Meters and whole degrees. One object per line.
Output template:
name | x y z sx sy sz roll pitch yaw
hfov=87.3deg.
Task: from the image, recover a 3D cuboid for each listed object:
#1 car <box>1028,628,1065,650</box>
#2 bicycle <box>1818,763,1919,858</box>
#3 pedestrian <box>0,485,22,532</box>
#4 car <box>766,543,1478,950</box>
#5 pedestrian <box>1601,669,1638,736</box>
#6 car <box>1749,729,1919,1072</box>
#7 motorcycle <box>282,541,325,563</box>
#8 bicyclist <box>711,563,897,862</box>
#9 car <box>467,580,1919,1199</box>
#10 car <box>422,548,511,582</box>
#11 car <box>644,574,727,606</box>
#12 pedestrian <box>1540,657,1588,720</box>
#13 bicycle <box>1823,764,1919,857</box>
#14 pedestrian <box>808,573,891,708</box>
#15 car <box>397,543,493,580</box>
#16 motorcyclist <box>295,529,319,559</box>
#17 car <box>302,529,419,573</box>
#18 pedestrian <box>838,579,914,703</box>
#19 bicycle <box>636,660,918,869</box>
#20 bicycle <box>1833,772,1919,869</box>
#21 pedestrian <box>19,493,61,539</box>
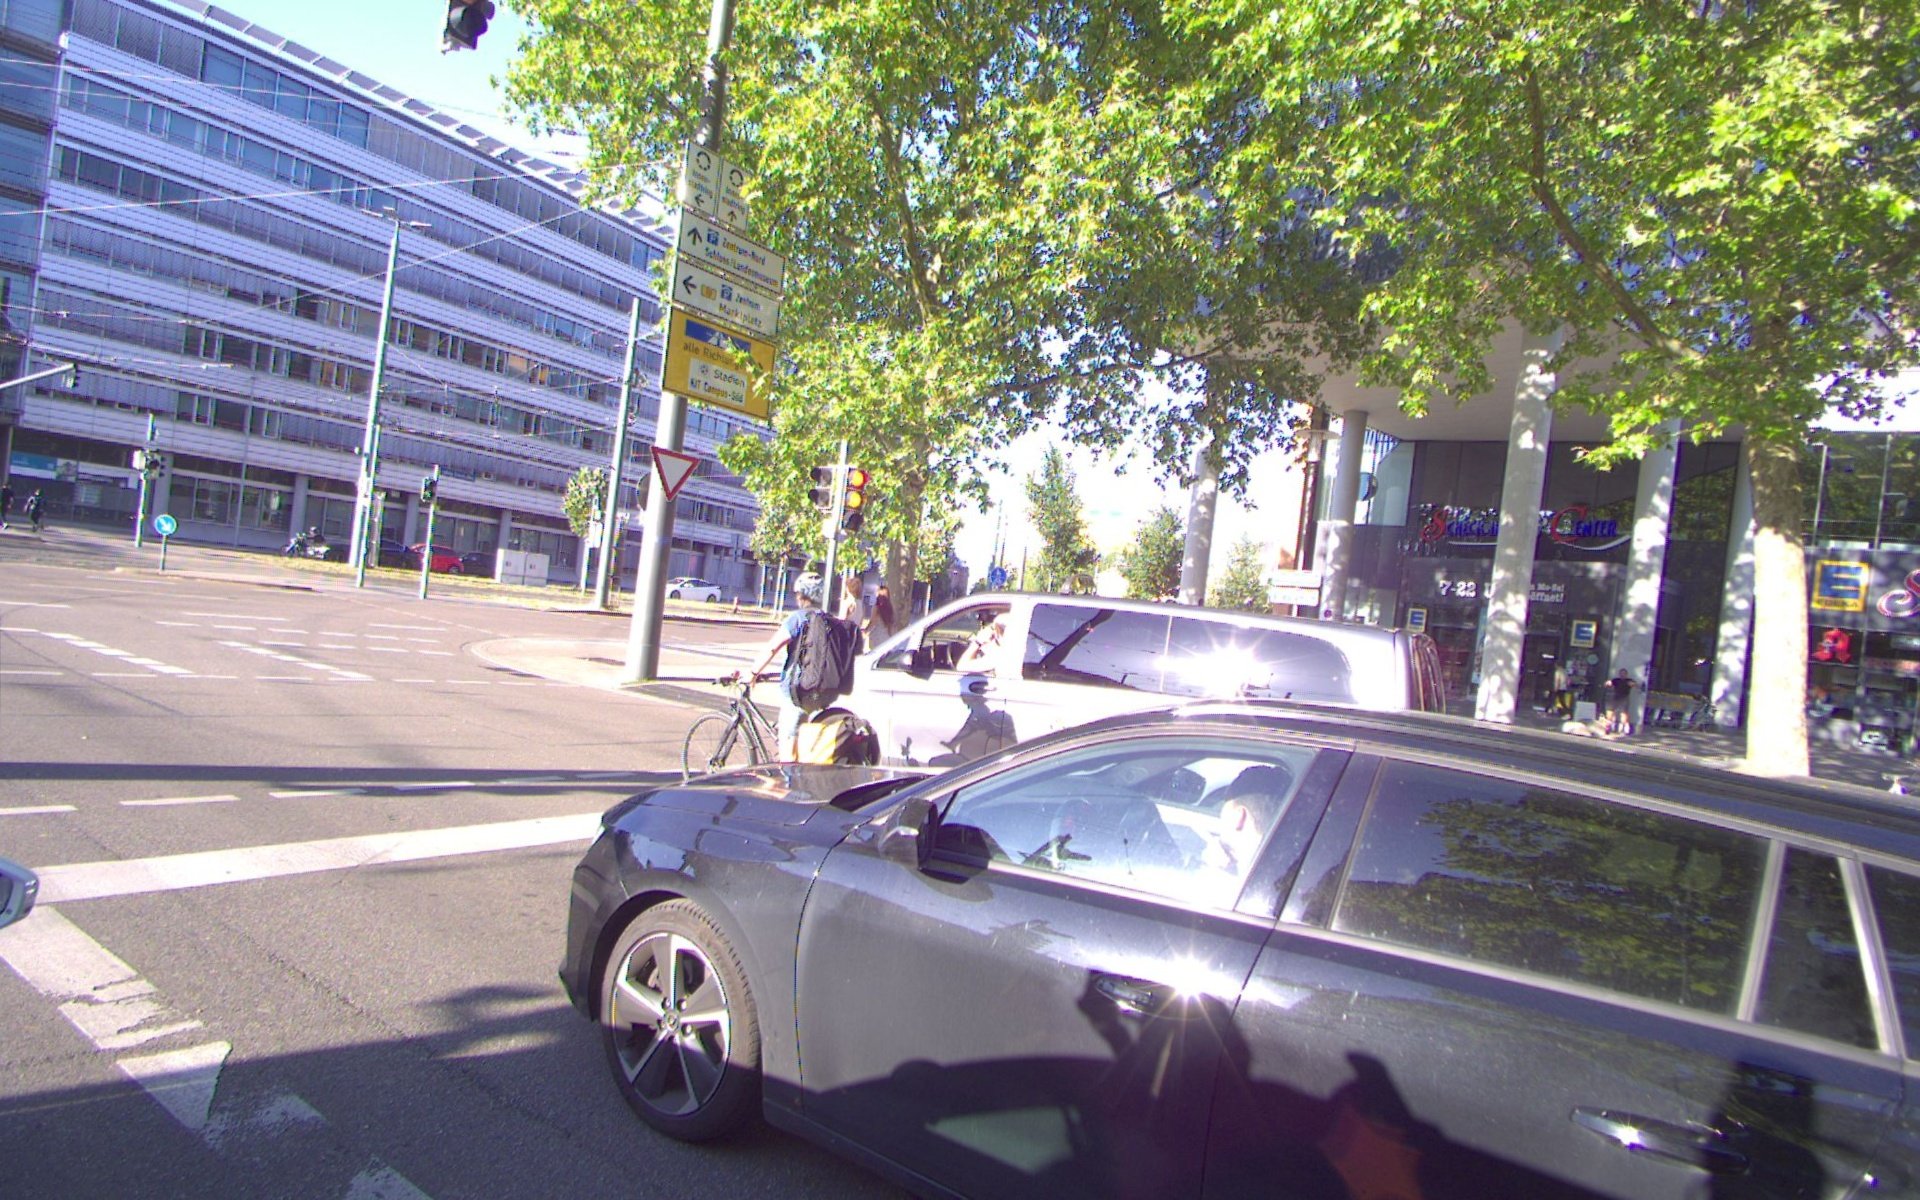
car | 8.527 3.819 98.716 1.767 1.725 3.993 6 -2 33
bicycle | 11.198 2.544 12.087 0.437 0.930 1.210 6 0 -39
pedestrian | -36.345 -3.495 38.134 1.020 1.706 0.912 7 1 39
car | 1.103 0.842 7.935 5.012 2.004 1.939 7 0 31
pedestrian | 17.499 2.724 26.680 0.598 1.707 0.511 6 1 -41
car | 6.499 1.726 4.633 4.181 1.503 1.741 7 0 31
motorcycle | -30.218 -2.195 46.315 0.460 0.820 1.568 7 0 36
bicyclist | -0.987 0.680 6.389 0.766 1.714 0.632 7 1 32
car | 0.788 0.941 2.743 4.199 1.431 1.742 7 -2 32
car | -28.437 -2.020 58.075 1.758 1.415 4.157 7 0 37
car | -16.510 -0.591 60.670 1.758 1.353 4.605 7 0 37
pedestrian | 17.727 2.592 29.544 0.710 1.728 0.800 6 1 -29
bicycle | 11.496 2.606 12.360 0.460 0.938 1.210 6 0 -39
pedestrian | -1.632 0.601 14.903 0.800 1.868 0.642 7 1 30
car | -26.434 -1.953 51.706 1.758 1.411 3.984 7 1 37
motorcyclist | -30.120 -2.570 46.397 0.452 1.291 0.712 7 1 36
car | -27.232 -2.195 45.795 1.758 1.415 4.157 7 0 37
pedestrian | -1.296 0.631 15.545 0.751 1.799 0.648 7 1 27
bicycle | -1.238 1.016 6.621 1.839 0.993 0.561 7 1 32
bicycle | 10.540 2.478 11.101 1.233 0.898 0.462 7 1 32
pedestrian | -35.508 -3.241 38.834 0.883 1.583 0.947 7 1 38
